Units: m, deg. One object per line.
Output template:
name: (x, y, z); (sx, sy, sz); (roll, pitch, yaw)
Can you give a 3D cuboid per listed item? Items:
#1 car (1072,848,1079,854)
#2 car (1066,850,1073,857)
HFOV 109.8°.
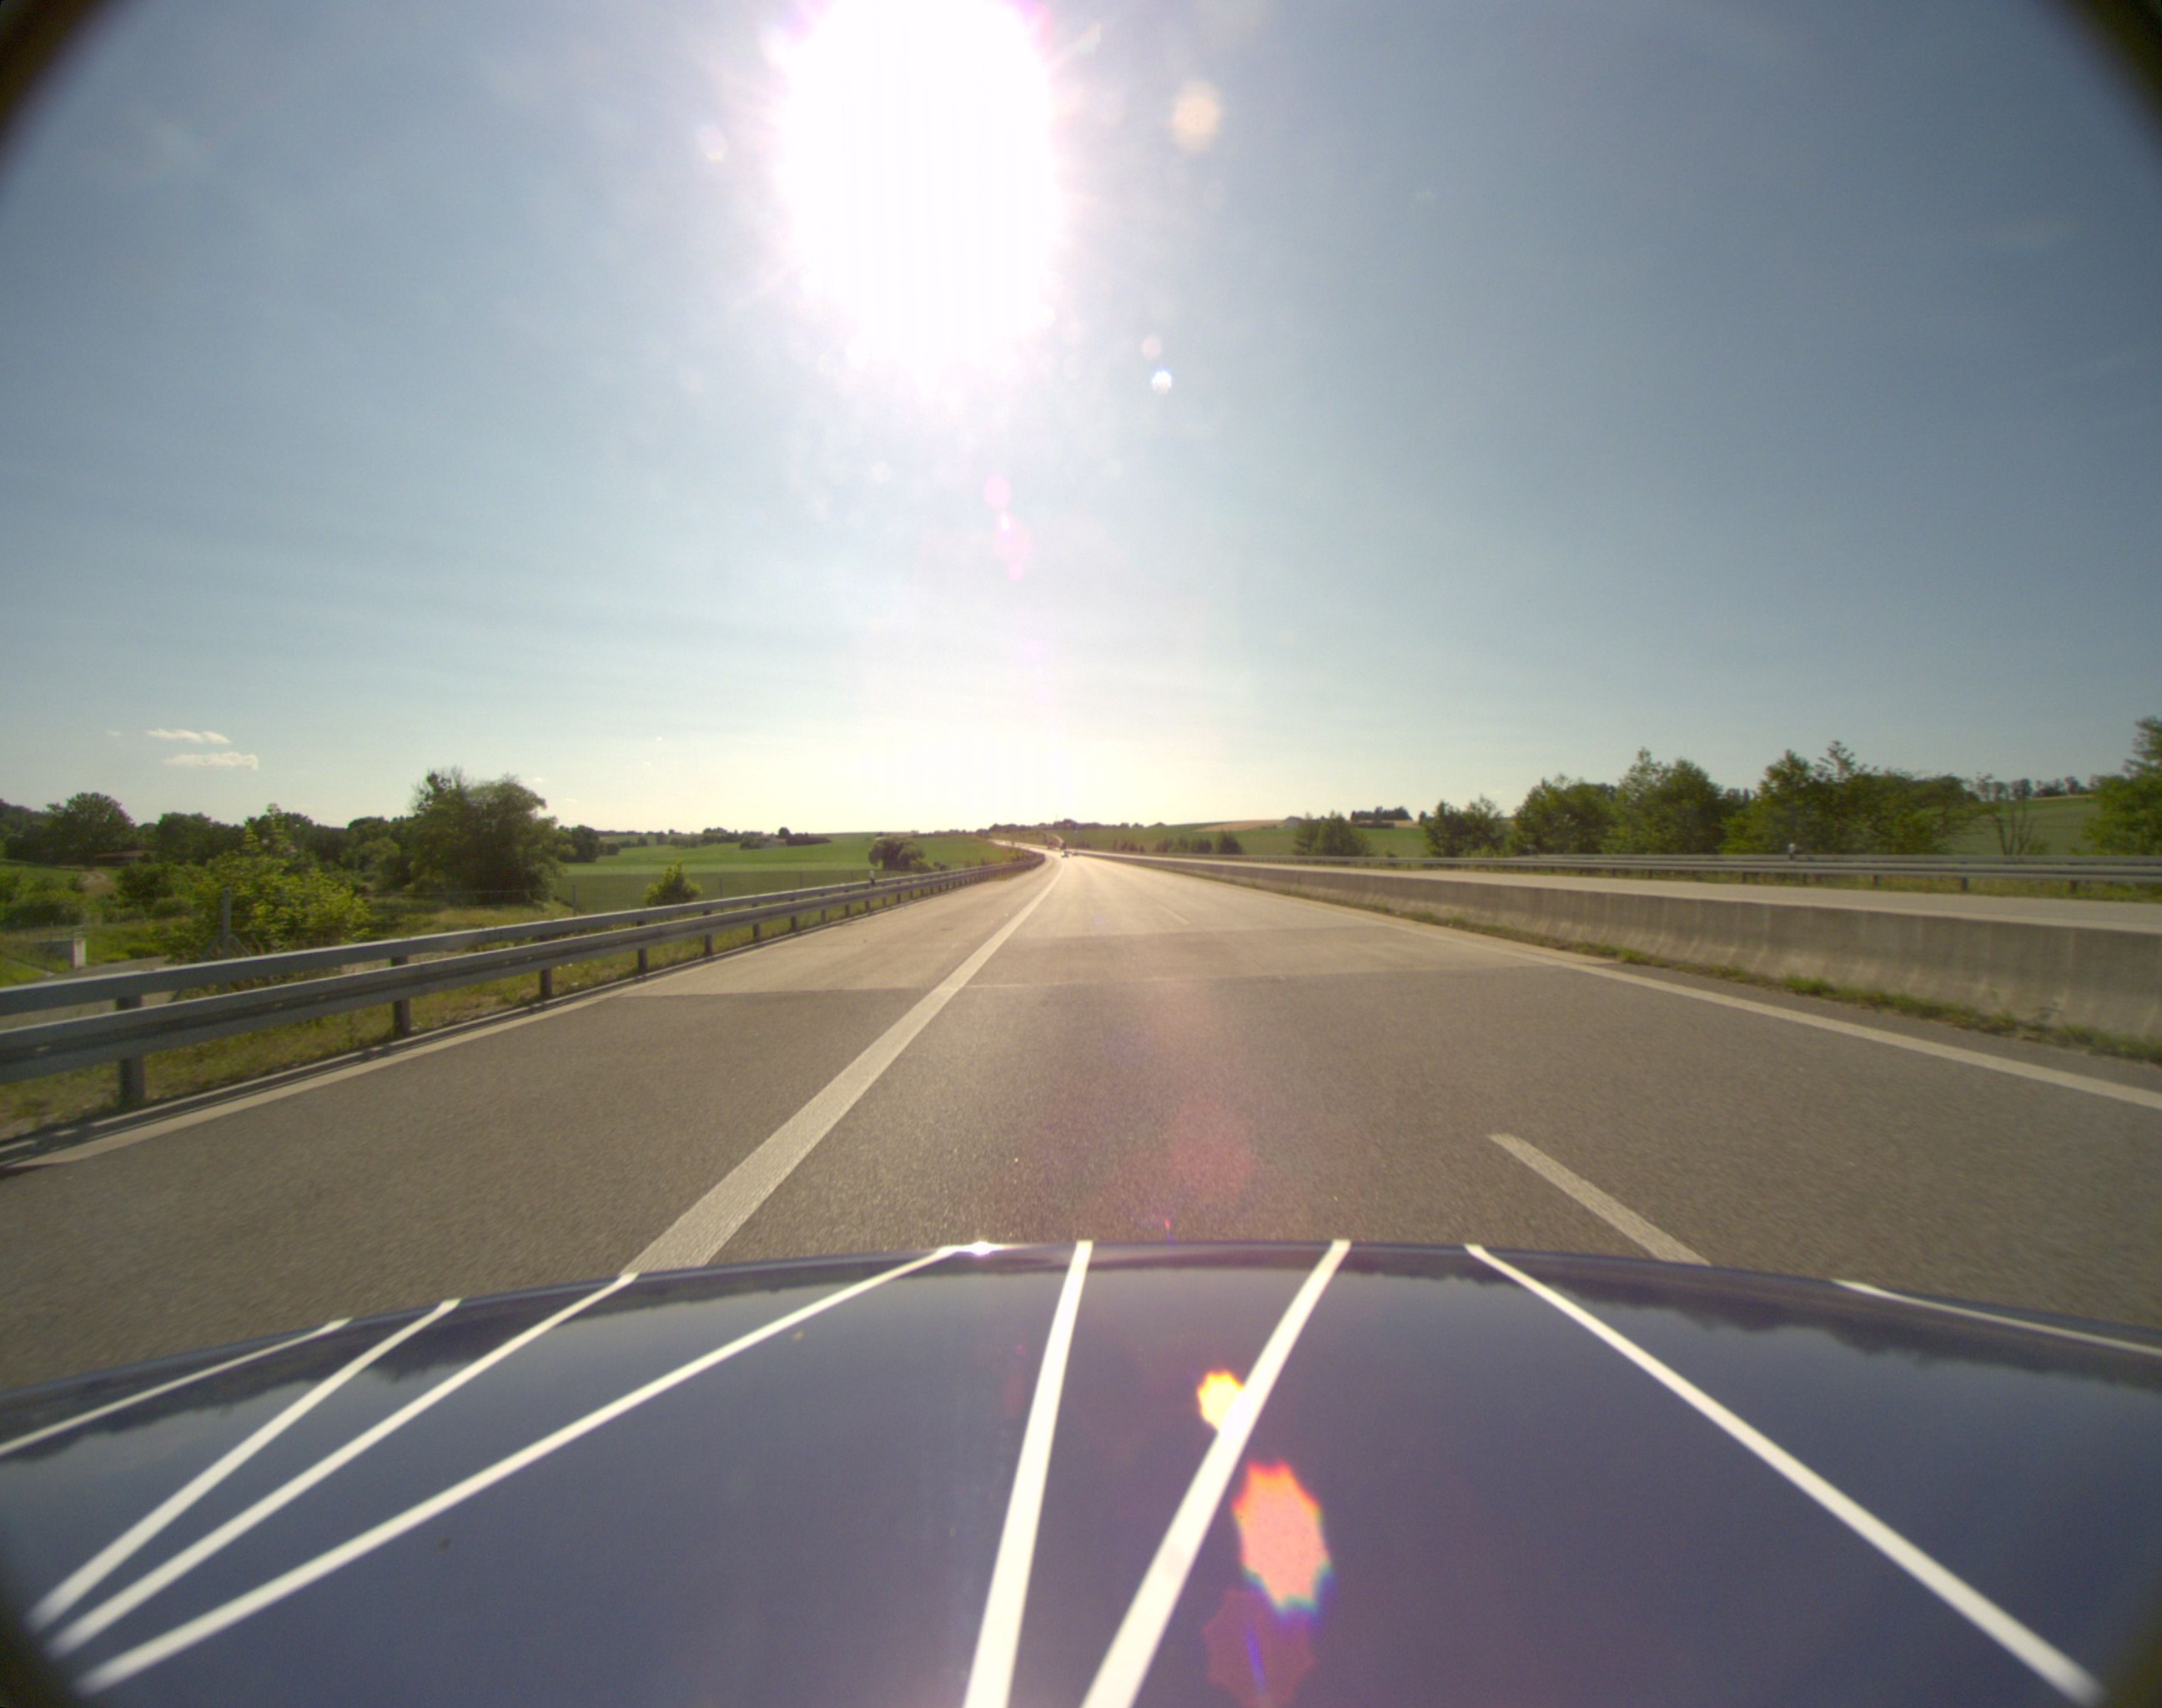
car: (-1.540, -0.770, 218.601); (1.715, 1.580, 4.624); (-3, 2, -4)
car: (-2.976, -0.140, 194.311); (1.715, 1.580, 4.625); (-3, 2, -2)
